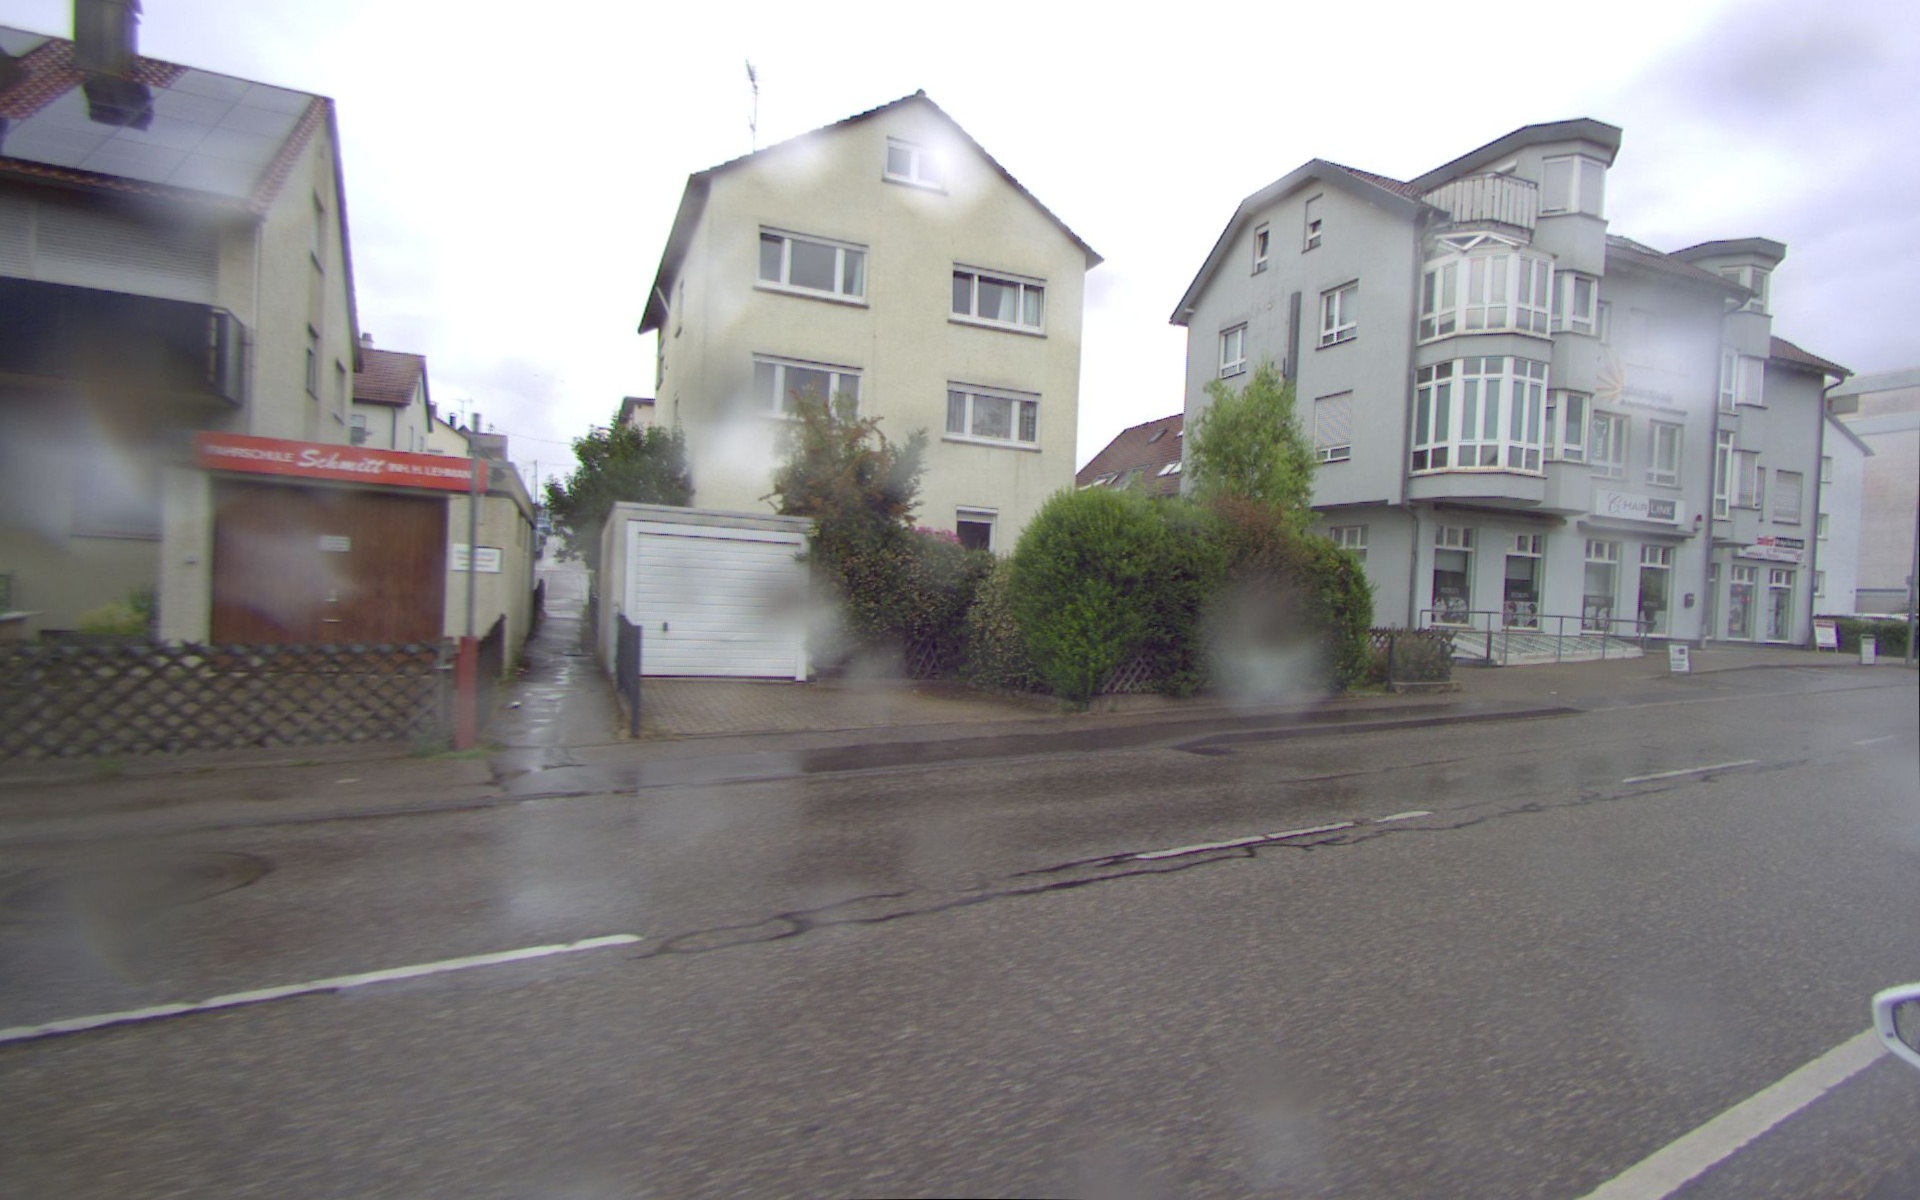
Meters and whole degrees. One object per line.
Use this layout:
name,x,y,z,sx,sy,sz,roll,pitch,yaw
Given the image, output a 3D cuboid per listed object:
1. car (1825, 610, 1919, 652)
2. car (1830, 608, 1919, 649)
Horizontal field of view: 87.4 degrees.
car,36.949,1.221,39.342,1.879,1.493,4.205,1,1,-26
car,42.217,1.286,45.060,1.911,1.659,4.442,1,1,-21
